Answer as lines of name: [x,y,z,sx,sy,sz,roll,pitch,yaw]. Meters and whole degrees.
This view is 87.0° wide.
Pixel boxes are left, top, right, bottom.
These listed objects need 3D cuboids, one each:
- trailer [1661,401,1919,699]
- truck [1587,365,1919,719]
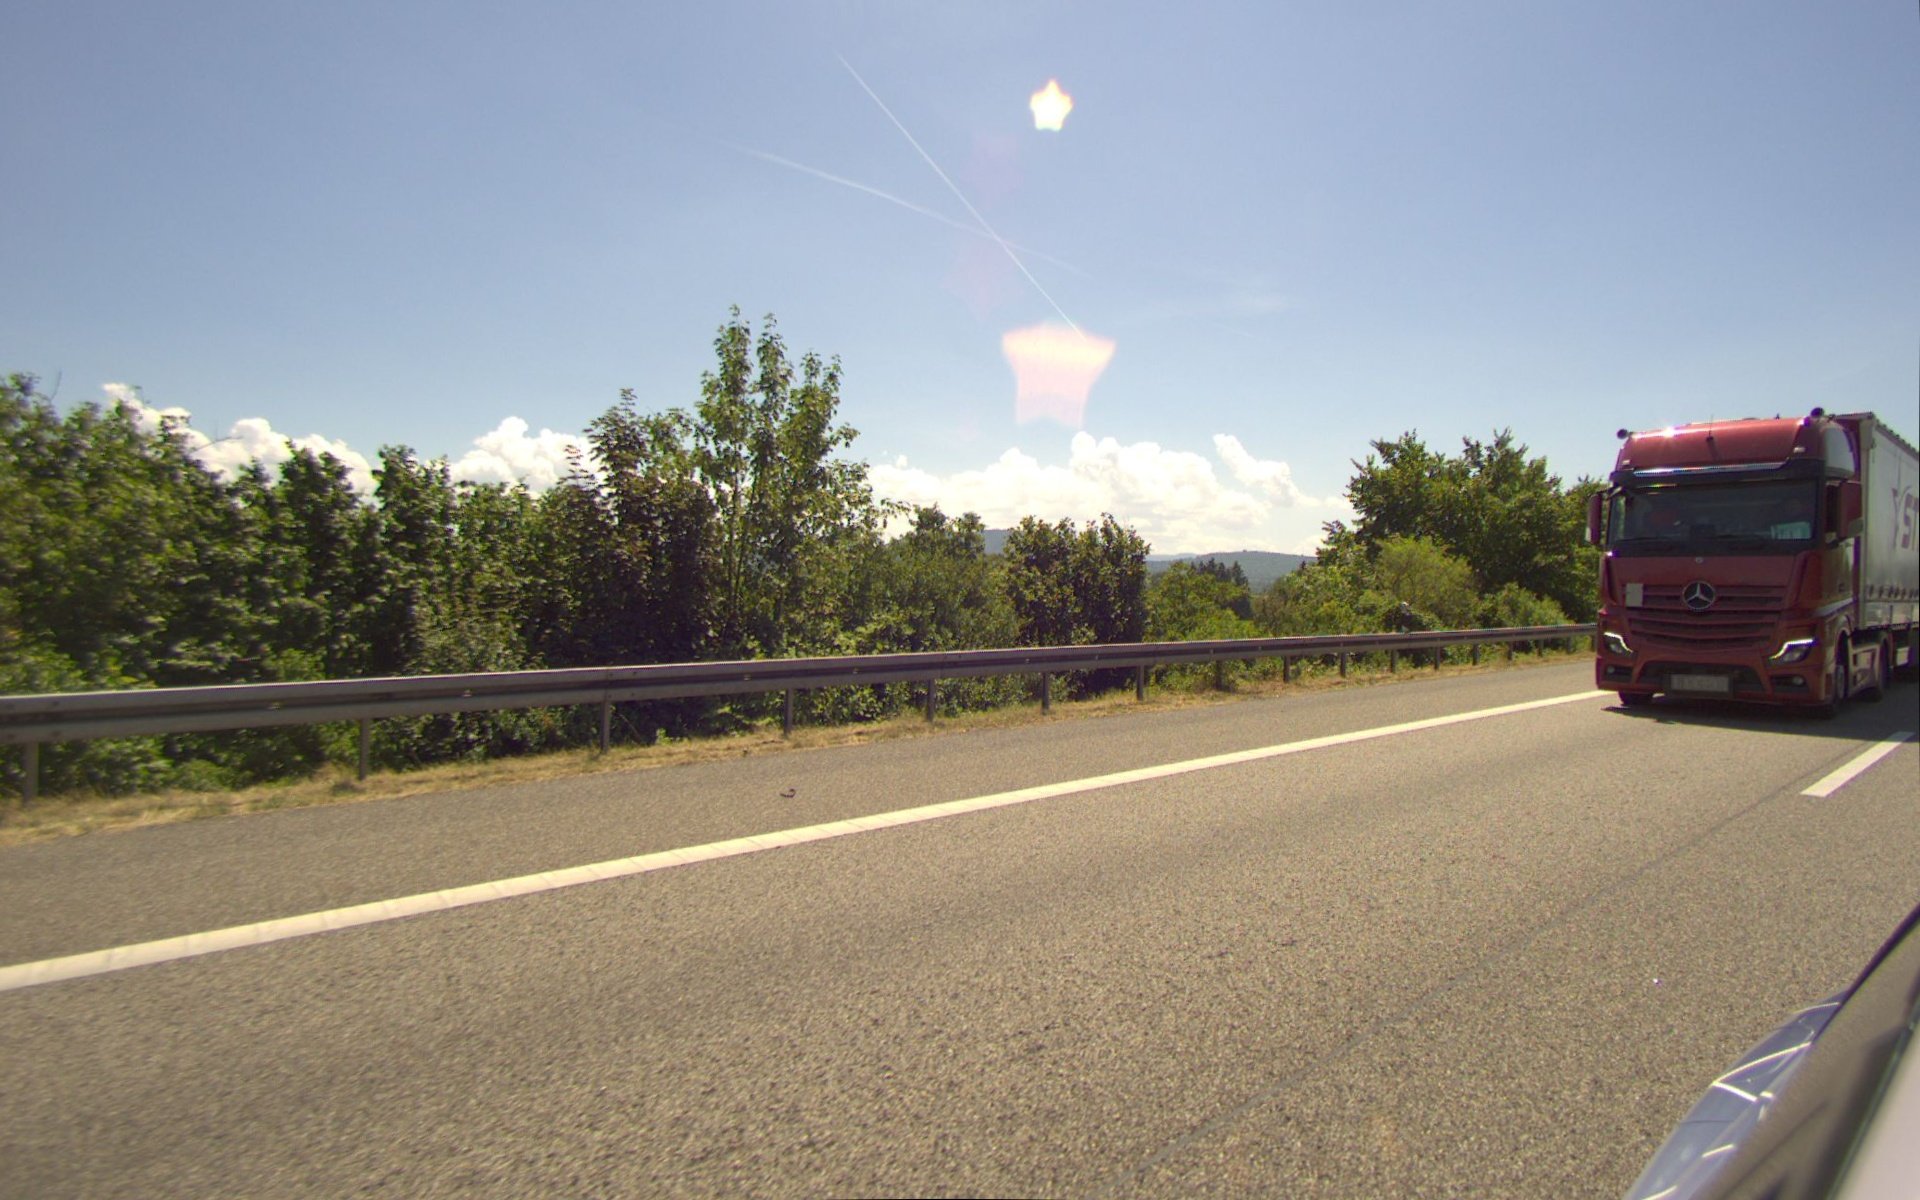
trailer: [17.334,-0.737,19.644,13.902,4.139,2.712,0,1,-41]
truck: [12.107,-0.713,15.121,6.842,4.139,2.712,0,1,-41]
